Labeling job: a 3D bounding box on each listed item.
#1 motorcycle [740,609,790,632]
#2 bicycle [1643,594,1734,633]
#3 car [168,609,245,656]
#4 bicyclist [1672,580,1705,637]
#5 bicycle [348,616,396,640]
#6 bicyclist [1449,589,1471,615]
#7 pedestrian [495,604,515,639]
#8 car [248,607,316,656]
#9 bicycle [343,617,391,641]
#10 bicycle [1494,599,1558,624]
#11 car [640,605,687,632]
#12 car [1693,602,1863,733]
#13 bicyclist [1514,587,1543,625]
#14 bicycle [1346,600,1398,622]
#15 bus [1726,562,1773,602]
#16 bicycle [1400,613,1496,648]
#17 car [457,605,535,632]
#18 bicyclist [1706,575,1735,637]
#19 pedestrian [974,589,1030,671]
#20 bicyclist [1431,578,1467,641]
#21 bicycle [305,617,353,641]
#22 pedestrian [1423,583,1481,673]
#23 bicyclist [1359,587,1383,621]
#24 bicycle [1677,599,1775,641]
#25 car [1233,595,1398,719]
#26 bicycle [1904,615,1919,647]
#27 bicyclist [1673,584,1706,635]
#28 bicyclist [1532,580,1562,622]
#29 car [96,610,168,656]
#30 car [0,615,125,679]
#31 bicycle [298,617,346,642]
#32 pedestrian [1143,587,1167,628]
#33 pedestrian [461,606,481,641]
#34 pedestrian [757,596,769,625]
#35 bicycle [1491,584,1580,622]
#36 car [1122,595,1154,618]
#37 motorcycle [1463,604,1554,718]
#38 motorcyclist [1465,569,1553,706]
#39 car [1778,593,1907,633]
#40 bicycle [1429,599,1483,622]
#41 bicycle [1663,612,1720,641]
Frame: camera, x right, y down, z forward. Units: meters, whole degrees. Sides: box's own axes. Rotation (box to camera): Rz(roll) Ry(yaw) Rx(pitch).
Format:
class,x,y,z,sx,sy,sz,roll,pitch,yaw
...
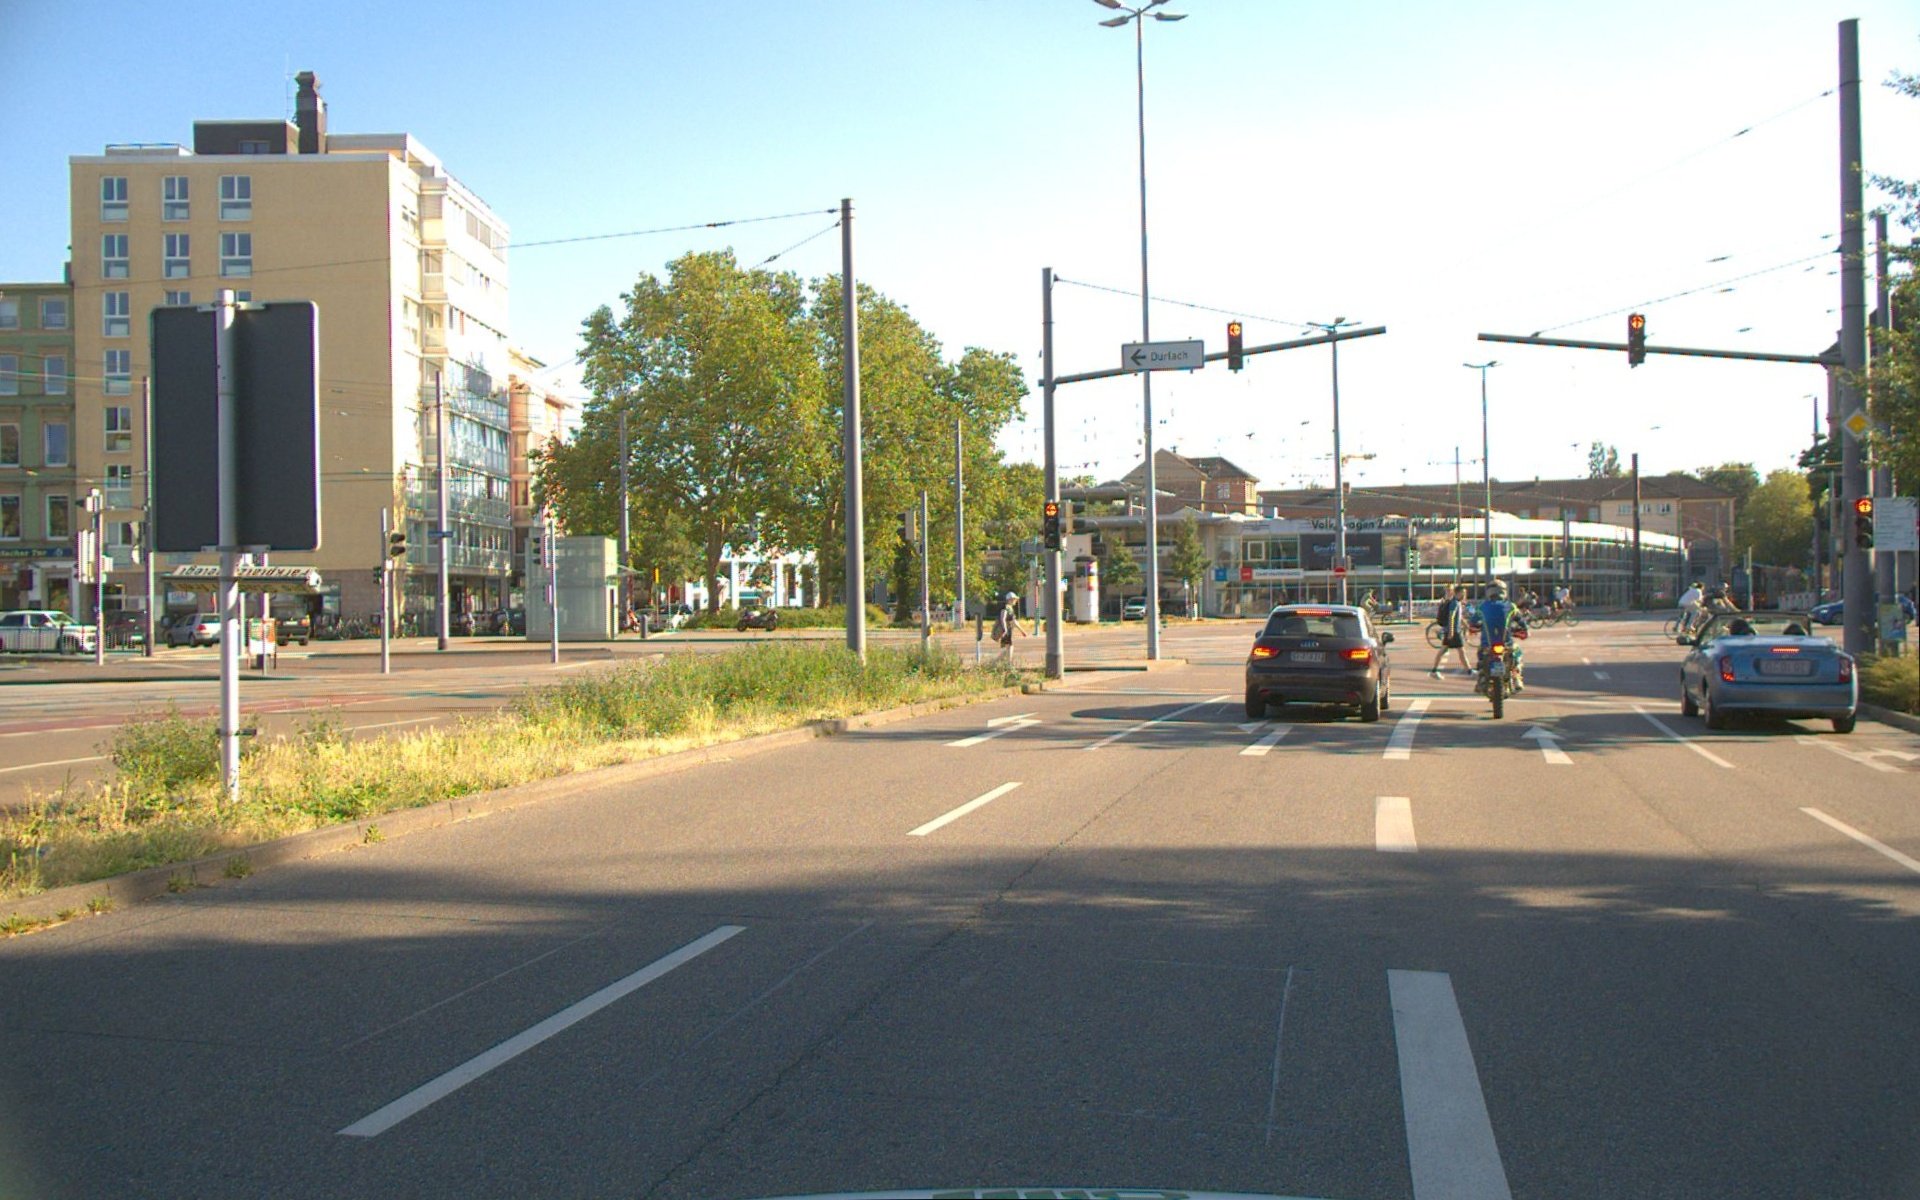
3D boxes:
class,x,y,z,sx,sy,sz,roll,pitch,yaw
motorcycle,-9.309,0.992,79.015,2.236,1.072,0.688,0,2,5
bicycle,22.486,0.412,51.073,2.442,1.153,0.860,-1,2,0
car,-32.142,1.350,70.539,1.825,1.778,3.937,-2,2,-43
bicyclist,22.485,0.259,51.078,0.636,1.720,0.860,0,1,0
bicycle,-28.316,1.356,79.703,2.001,1.109,0.777,-1,0,-2
bicyclist,23.088,0.095,76.424,0.699,1.163,0.836,-1,2,-9
pedestrian,-22.560,1.078,82.011,0.760,1.705,0.783,-1,0,1
car,-29.063,1.302,70.865,1.832,1.889,3.950,-2,2,-36
bicycle,-28.251,1.382,78.856,2.001,1.109,0.777,-1,0,-2
bicycle,23.966,0.482,70.042,2.387,1.021,0.963,-1,0,2
car,-16.797,1.029,93.858,1.808,1.477,4.001,0,0,2
car,10.300,0.775,21.035,1.765,1.469,3.976,1,0,24
bicyclist,24.068,0.240,70.035,0.904,1.587,0.963,-1,0,2
bicycle,19.609,0.512,78.673,2.249,0.996,0.860,-1,2,-2
bus,61.891,-1.474,129.540,2.311,2.933,9.556,0,2,32
bicycle,13.594,0.841,46.109,2.443,0.889,0.860,-1,2,-4
car,-25.810,1.017,92.075,3.909,1.447,1.811,-1,0,-5
bicyclist,21.629,0.156,47.038,0.635,1.720,0.861,0,2,17
pedestrian,0.857,0.601,33.549,1.069,1.634,0.699,0,1,7
bicyclist,13.619,0.258,46.099,0.730,1.720,0.860,-1,2,-3
bicycle,-30.396,1.372,79.660,2.001,1.109,0.777,-1,0,-2
pedestrian,9.502,0.535,31.966,0.814,1.701,0.694,-1,0,-21
bicyclist,19.516,0.171,78.630,0.905,1.586,0.860,-1,2,-2
bicycle,21.747,0.566,47.003,2.440,1.153,0.861,0,2,18
car,4.811,0.677,22.012,1.763,1.469,3.980,1,0,18
bicycle,28.982,0.895,48.658,2.261,0.921,0.855,-1,2,-19
bicyclist,25.498,0.327,57.789,0.644,1.720,0.849,-2,2,-37
bicyclist,28.212,0.041,79.458,1.048,1.933,1.123,-1,2,0
car,-35.317,1.396,70.478,1.824,1.749,3.940,-2,2,-41
car,-31.449,1.620,57.622,3.659,2.048,2.000,-1,2,-2
bicycle,-30.389,1.404,78.788,2.001,1.109,0.777,-1,0,-2
pedestrian,8.996,0.337,76.210,0.968,1.848,0.921,0,2,16
pedestrian,-24.308,1.151,82.237,0.760,1.705,0.783,-1,0,1
pedestrian,-13.881,0.733,116.575,0.576,2.049,0.711,-1,0,18
bicycle,27.614,0.131,79.416,3.905,1.719,1.139,-1,2,-1
car,13.395,0.461,124.473,1.951,1.561,4.004,0,2,12
motorcycle,7.206,0.753,21.718,1.073,1.401,2.654,0,0,19
motorcyclist,7.219,0.480,21.753,1.073,1.751,0.937,0,-1,19
car,37.586,0.547,70.575,4.504,1.622,1.955,-1,0,15
bicycle,22.930,0.501,76.415,2.253,0.976,0.858,-1,2,-9
bicycle,25.602,0.924,57.891,2.279,0.921,0.849,-2,2,-38
